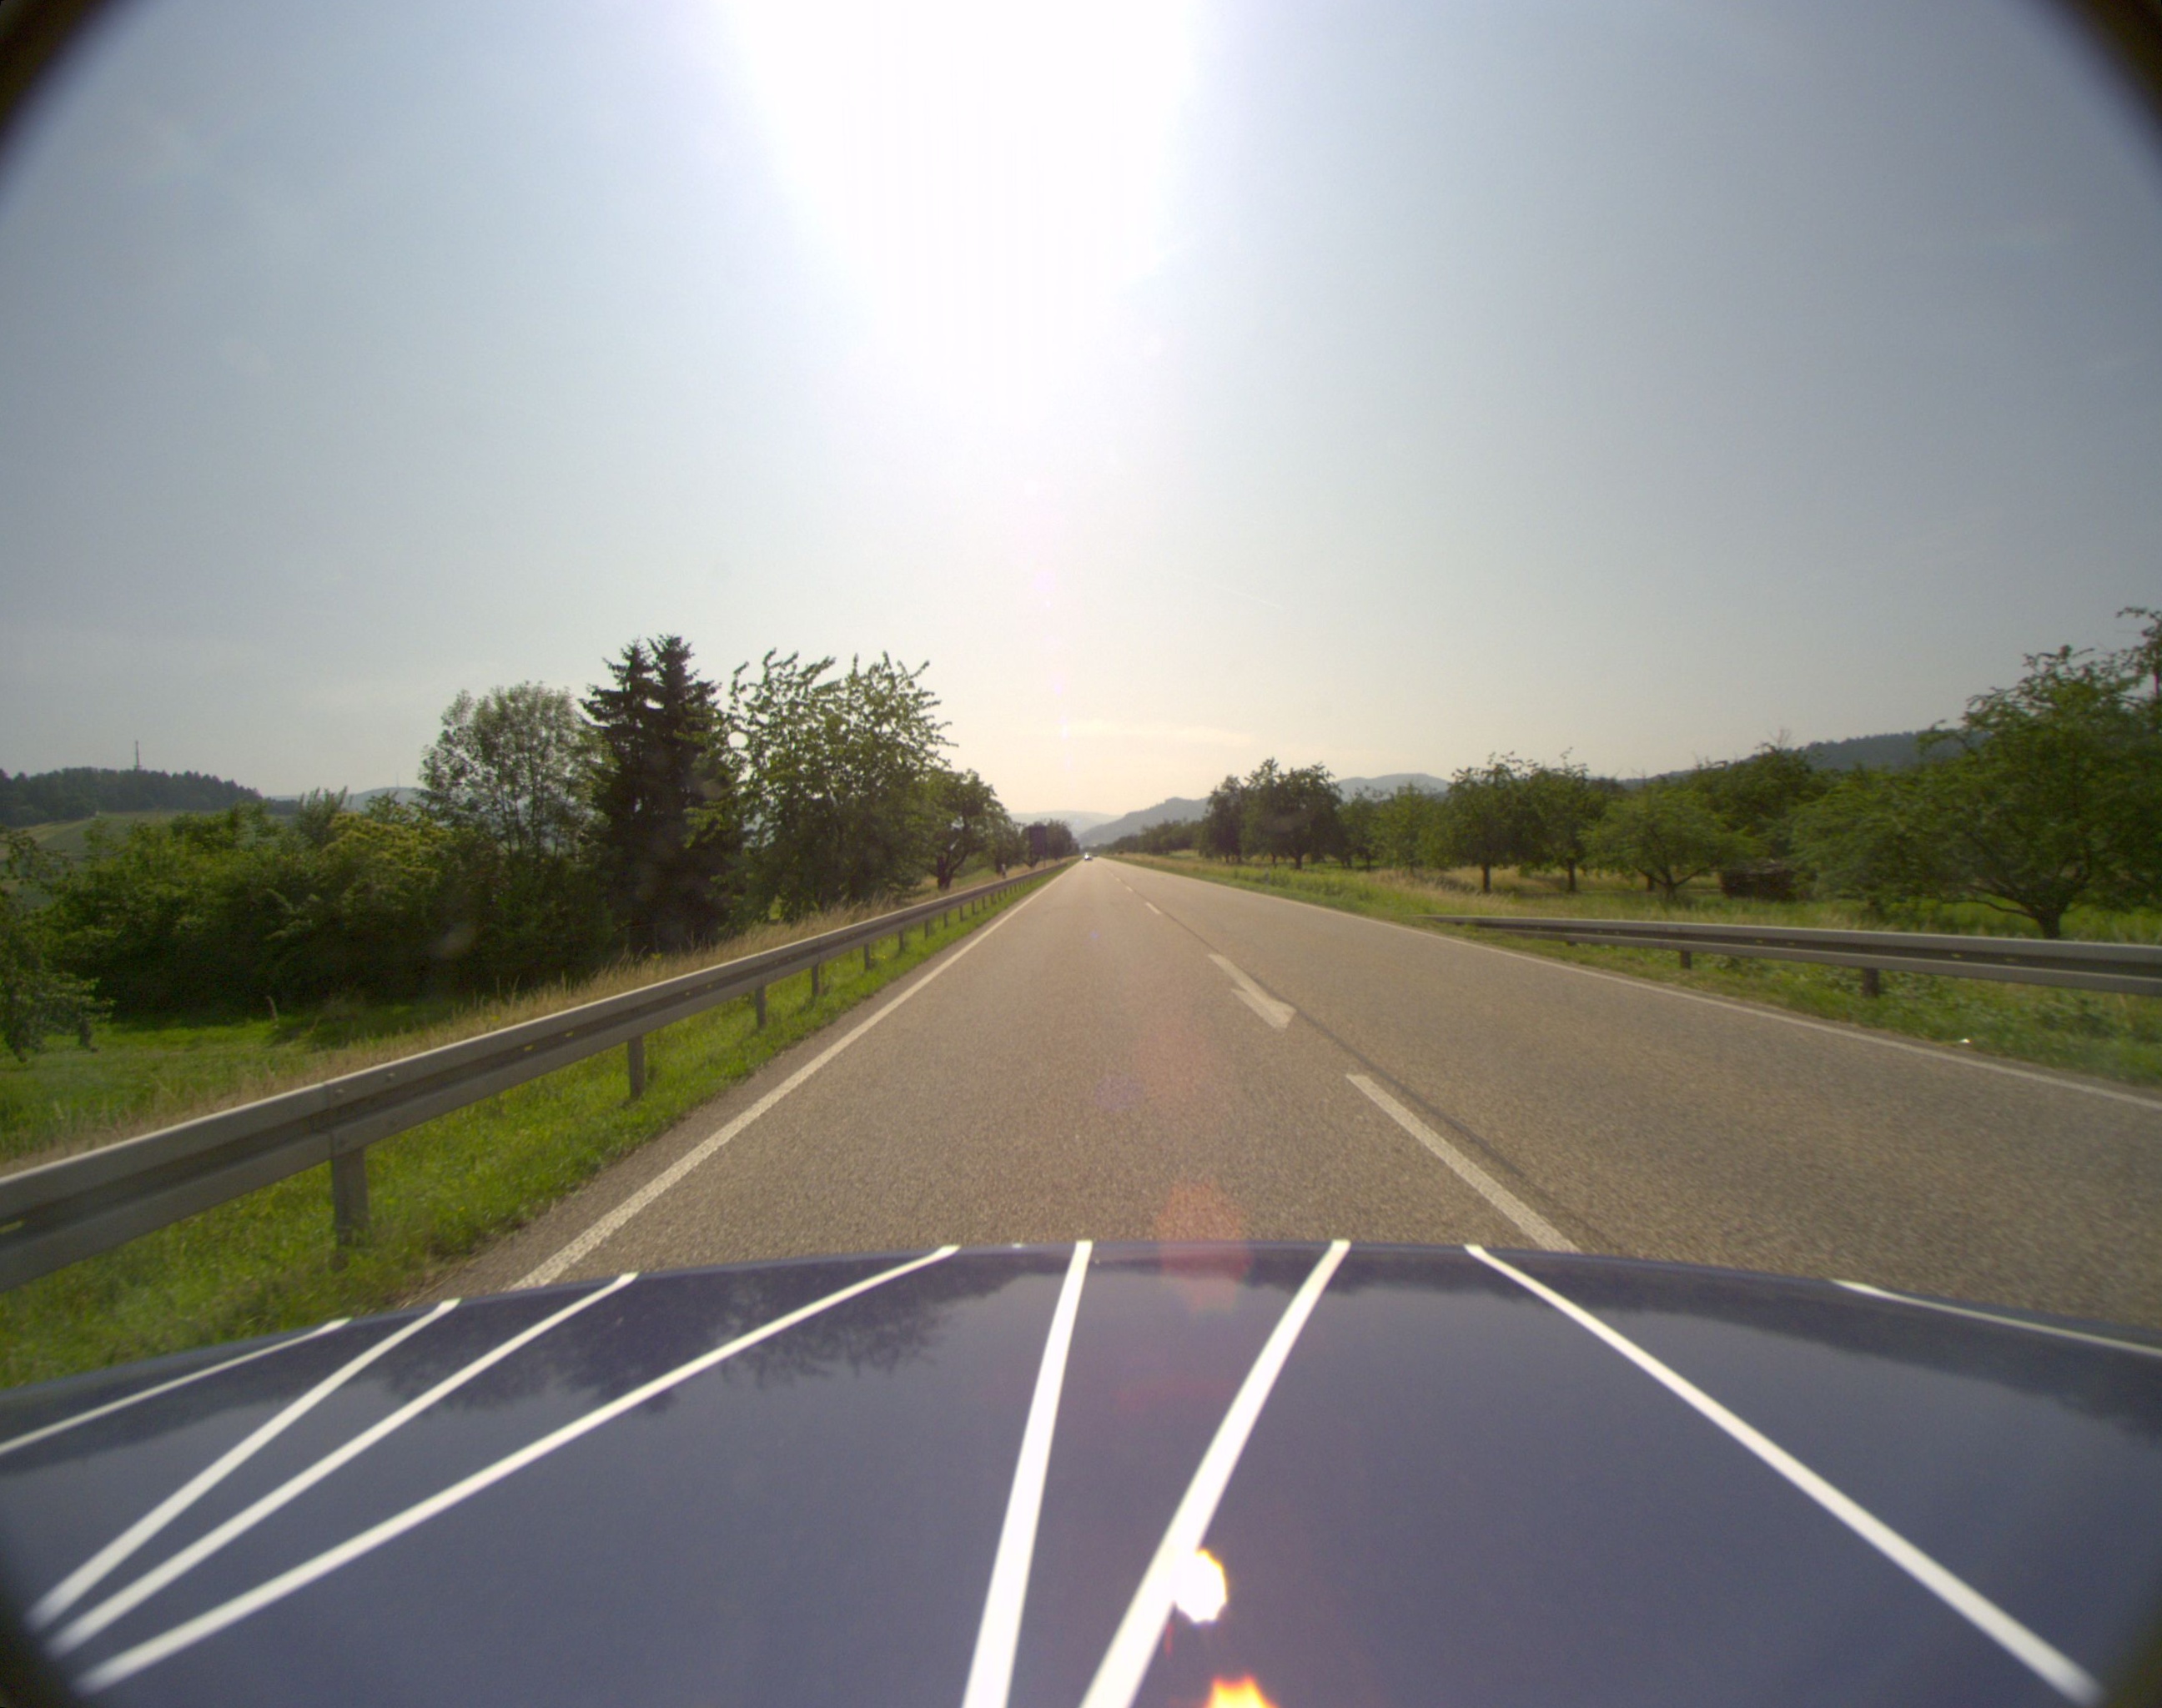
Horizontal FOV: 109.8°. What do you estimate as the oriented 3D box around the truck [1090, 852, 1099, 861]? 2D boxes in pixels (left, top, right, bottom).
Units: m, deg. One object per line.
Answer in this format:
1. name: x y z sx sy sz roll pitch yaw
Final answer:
1. truck: 3.244 0.612 185.120 2.031 2.233 4.764 -2 1 2
